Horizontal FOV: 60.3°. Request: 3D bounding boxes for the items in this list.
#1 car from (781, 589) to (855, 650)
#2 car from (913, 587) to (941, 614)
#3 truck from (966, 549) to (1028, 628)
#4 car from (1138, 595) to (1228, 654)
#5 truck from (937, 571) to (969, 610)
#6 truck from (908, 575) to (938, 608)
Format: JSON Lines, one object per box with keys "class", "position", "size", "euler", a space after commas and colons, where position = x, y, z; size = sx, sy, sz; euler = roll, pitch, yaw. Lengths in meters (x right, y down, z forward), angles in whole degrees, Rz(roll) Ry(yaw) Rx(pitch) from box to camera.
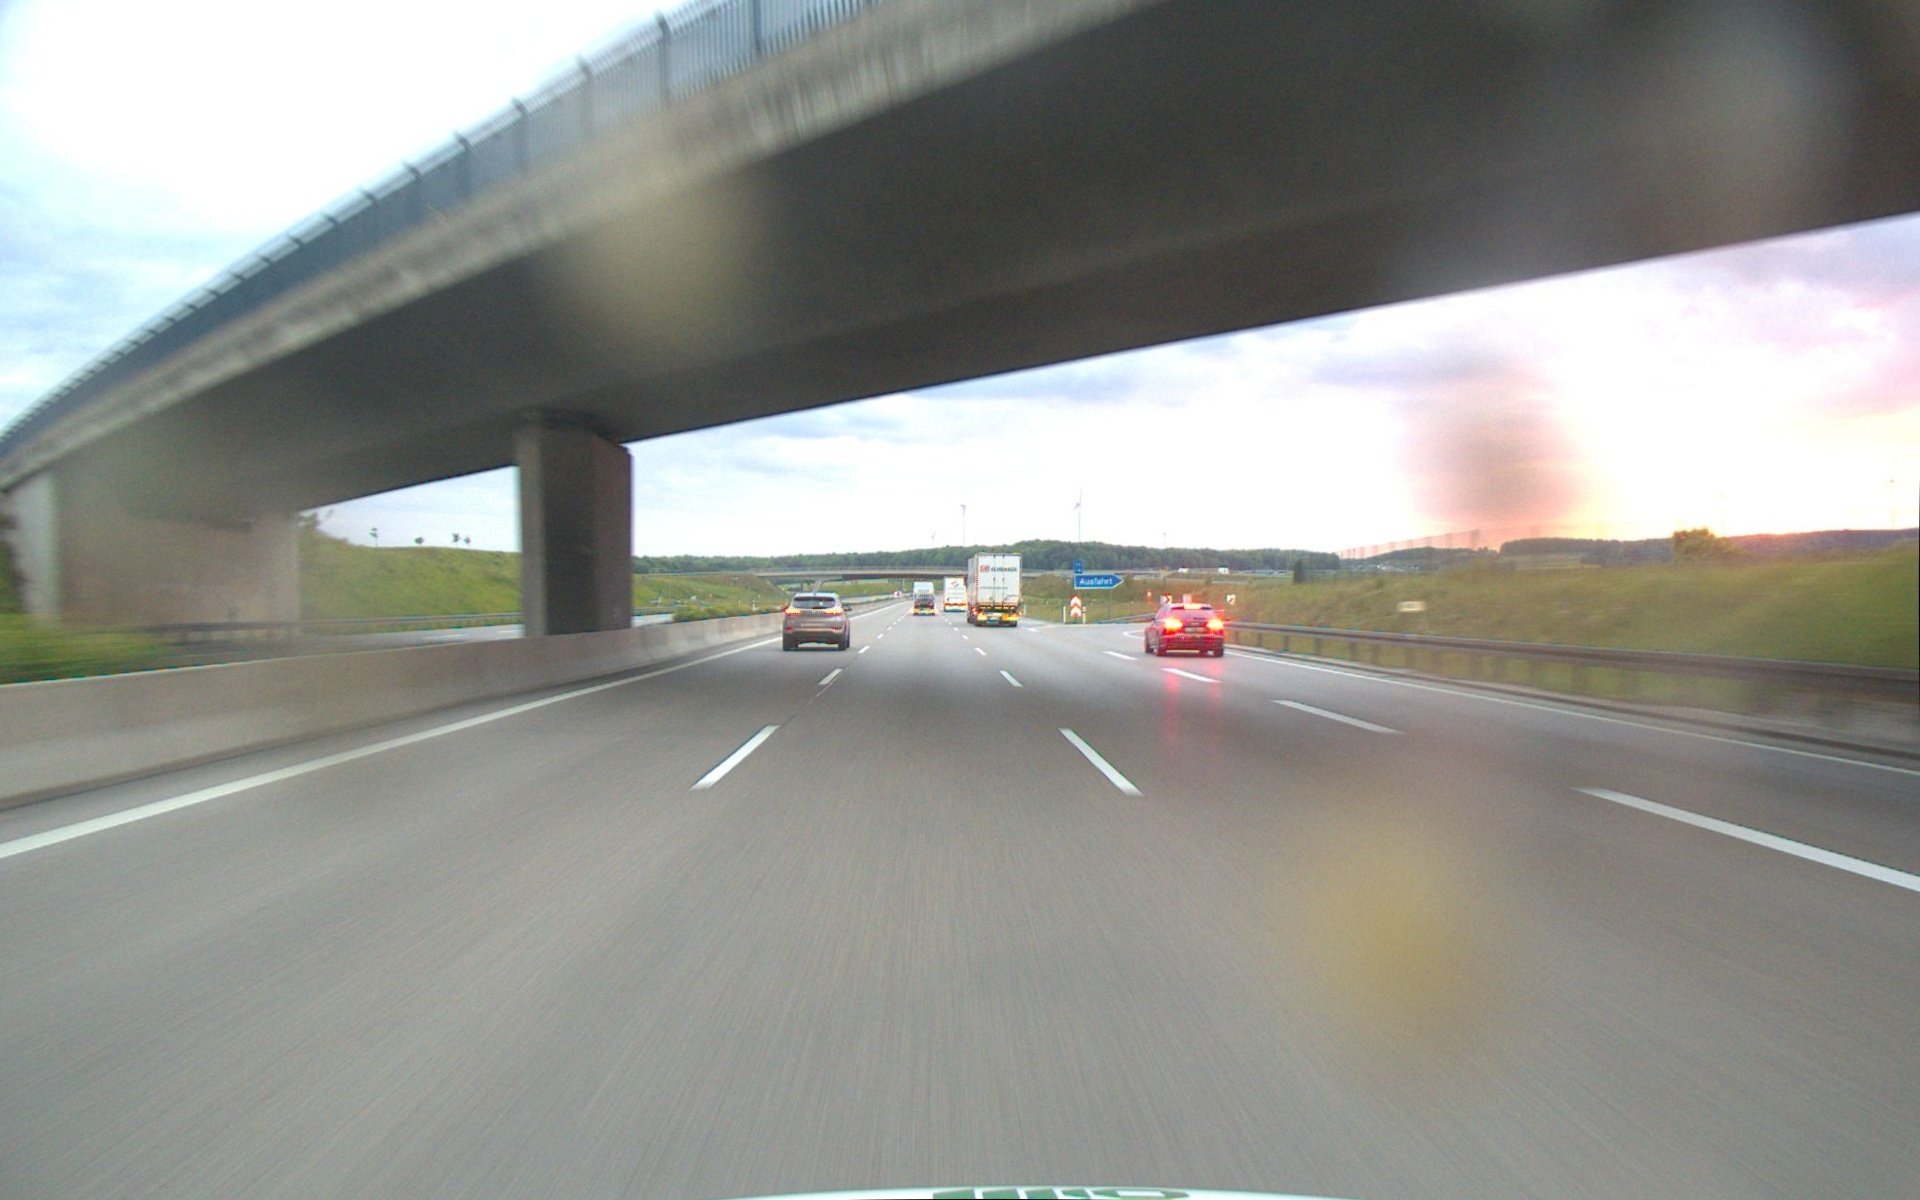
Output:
{"class": "car", "position": [-4.179, 0.539, 49.386], "size": [1.815, 1.722, 5.510], "euler": [0, 0, -1]}
{"class": "car", "position": [-3.124, 0.014, 153.733], "size": [2.466, 2.433, 6.493], "euler": [0, 0, -2]}
{"class": "truck", "position": [2.073, -0.679, 95.629], "size": [3.168, 4.301, 9.597], "euler": [1, 1, -1]}
{"class": "car", "position": [6.245, 0.657, 46.671], "size": [1.879, 1.607, 3.998], "euler": [0, 0, -2]}
{"class": "truck", "position": [-0.859, -1.143, 194.393], "size": [3.454, 4.421, 8.403], "euler": [1, 1, -2]}
{"class": "truck", "position": [-3.816, -0.878, 169.706], "size": [2.892, 3.273, 8.403], "euler": [1, 1, -2]}
